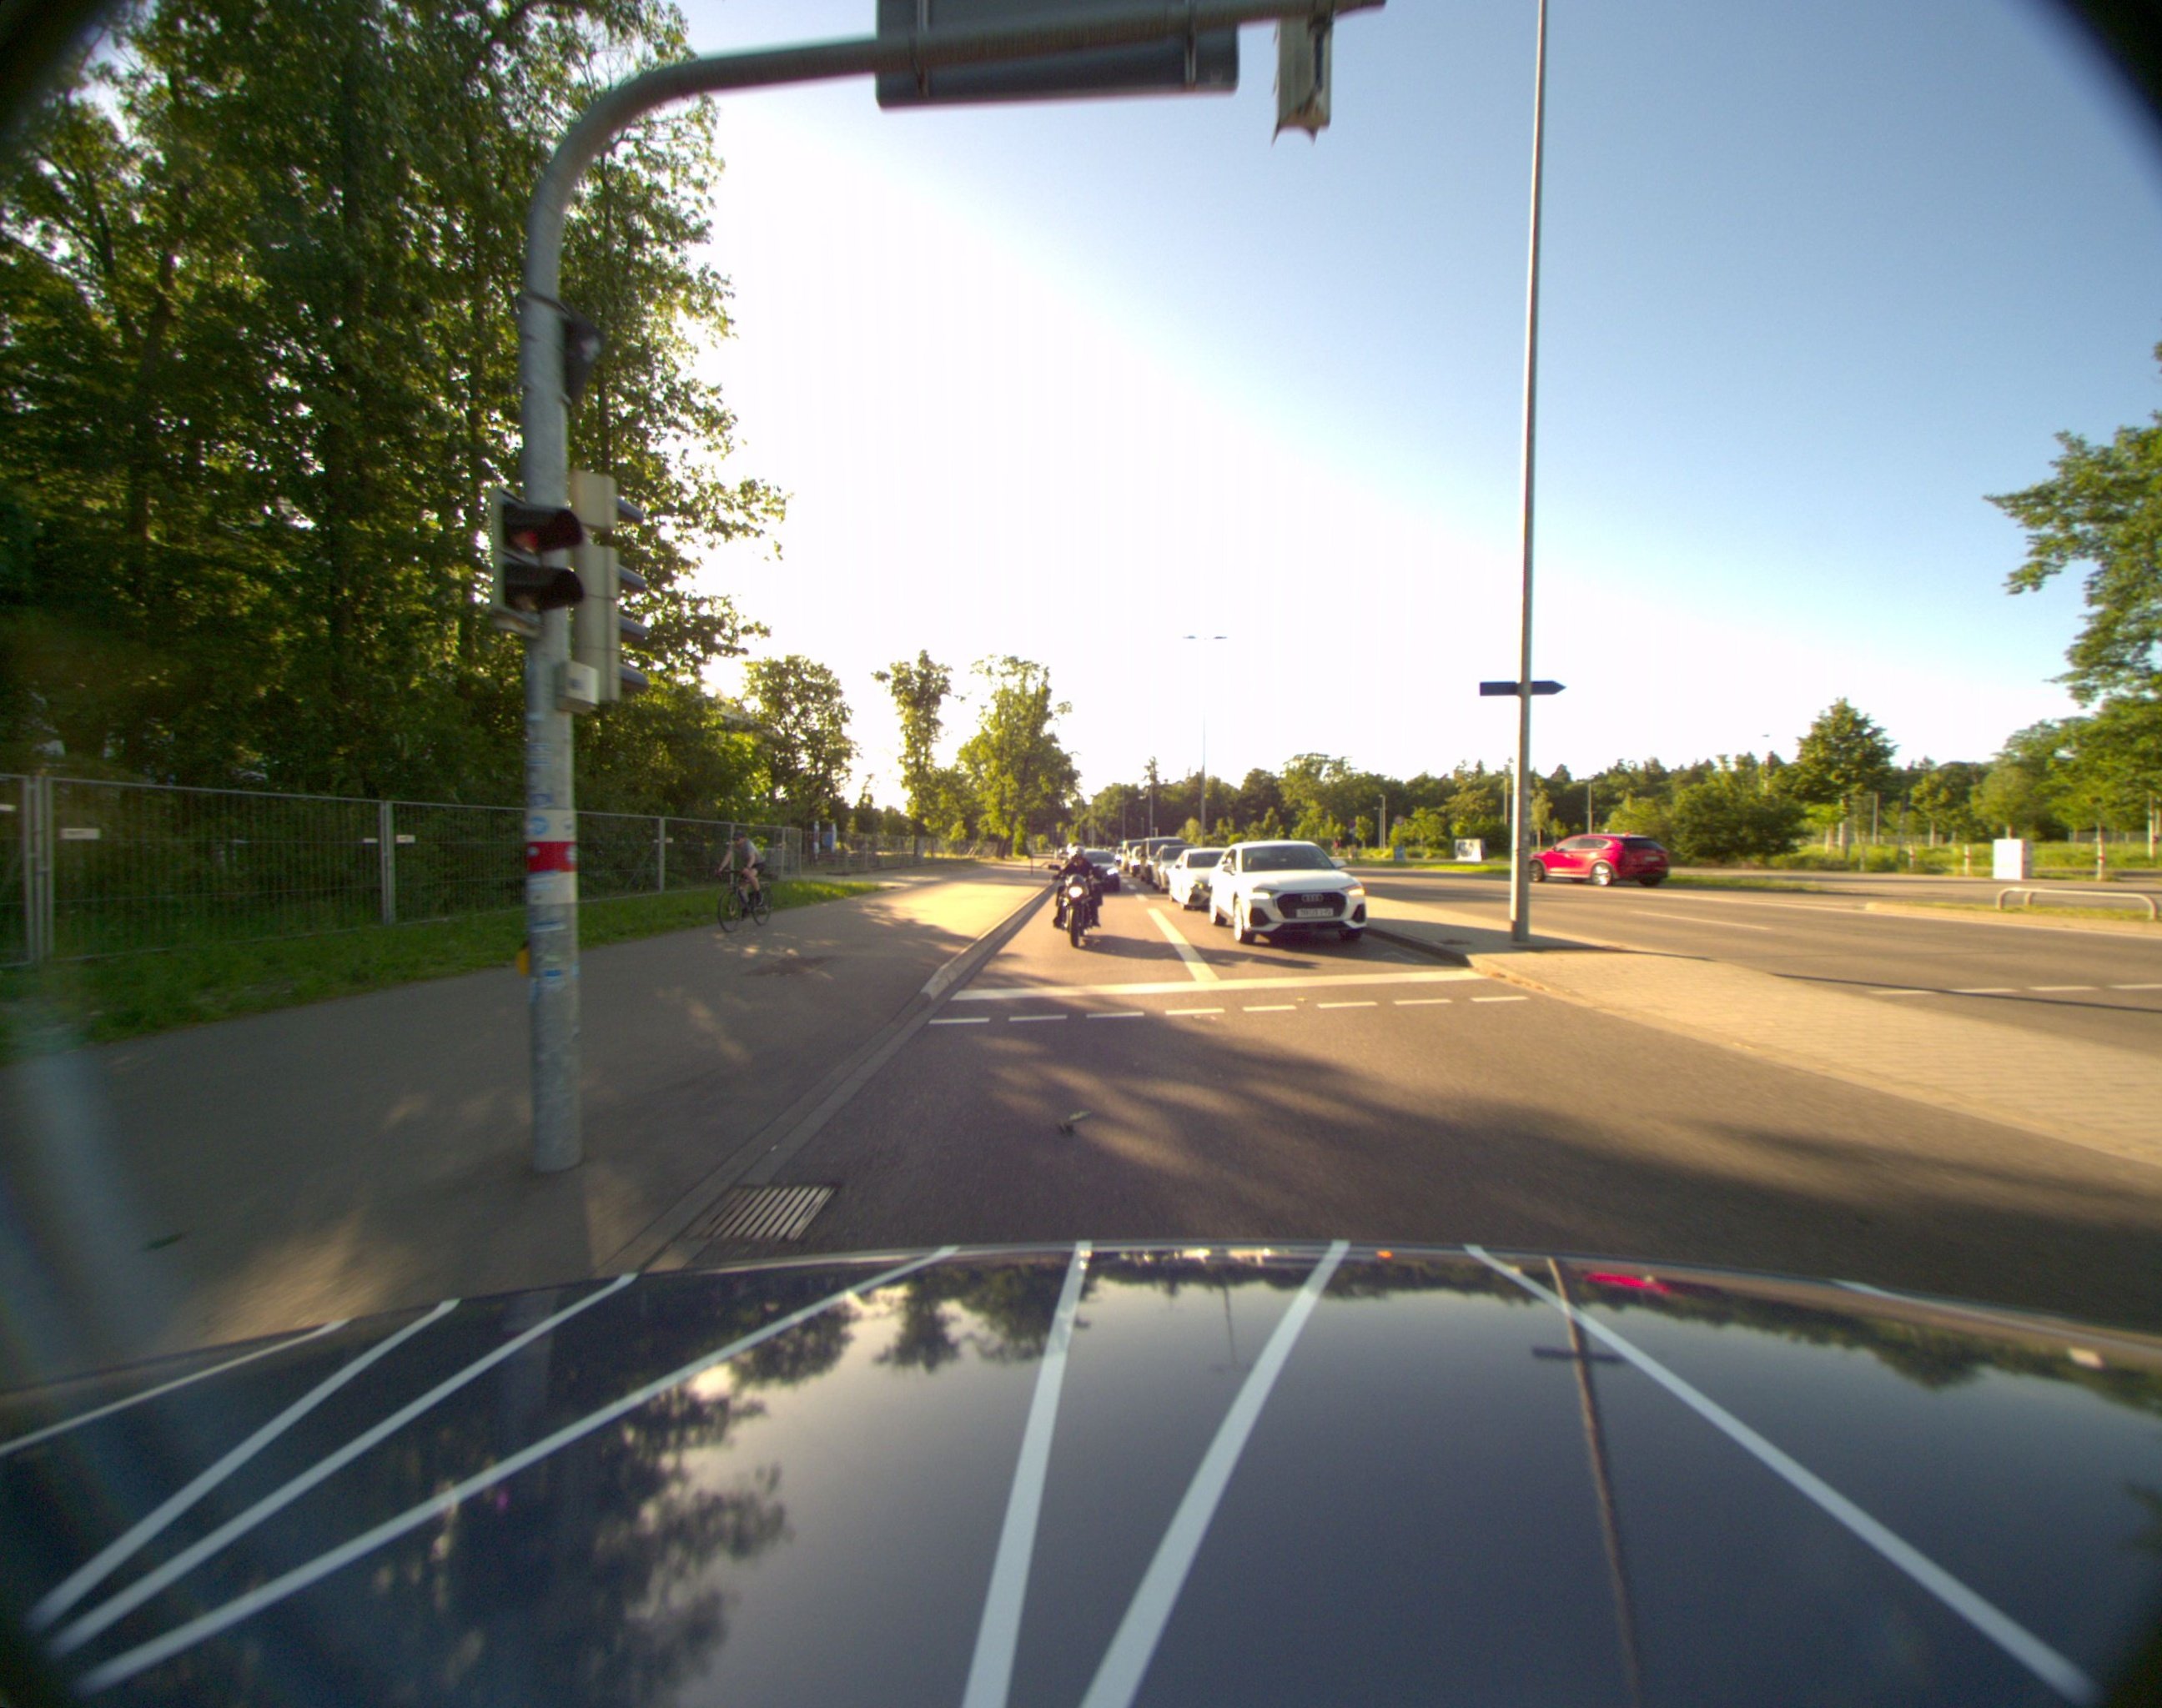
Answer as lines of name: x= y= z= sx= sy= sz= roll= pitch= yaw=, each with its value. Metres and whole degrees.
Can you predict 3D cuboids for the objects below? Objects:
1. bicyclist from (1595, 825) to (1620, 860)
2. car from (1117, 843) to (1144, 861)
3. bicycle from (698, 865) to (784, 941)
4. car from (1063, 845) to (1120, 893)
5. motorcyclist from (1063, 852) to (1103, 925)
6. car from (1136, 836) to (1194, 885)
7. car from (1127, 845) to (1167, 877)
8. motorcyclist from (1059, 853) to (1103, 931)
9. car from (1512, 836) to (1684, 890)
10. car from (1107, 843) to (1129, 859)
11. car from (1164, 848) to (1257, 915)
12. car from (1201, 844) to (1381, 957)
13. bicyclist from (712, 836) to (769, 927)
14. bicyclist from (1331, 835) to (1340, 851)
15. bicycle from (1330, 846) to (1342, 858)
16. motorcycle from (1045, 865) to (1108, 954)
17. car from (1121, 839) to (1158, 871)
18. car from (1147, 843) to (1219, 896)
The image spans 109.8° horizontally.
bicyclist: x=24.899 y=-0.549 z=35.953 sx=0.682 sy=1.602 sz=0.800 roll=-2 pitch=1 yaw=9
car: x=4.118 y=-0.186 z=63.666 sx=1.896 sy=1.389 sz=4.639 roll=-2 pitch=1 yaw=0
bicycle: x=-5.687 y=0.783 z=12.826 sx=0.555 sy=1.131 sz=1.864 roll=0 pitch=1 yaw=1
car: x=0.374 y=0.476 z=27.988 sx=1.867 sy=1.538 sz=4.795 roll=-2 pitch=1 yaw=0
motorcyclist: x=0.045 y=0.616 z=13.882 sx=0.671 sy=1.257 sz=0.826 roll=-2 pitch=1 yaw=1
car: x=3.475 y=0.215 z=32.313 sx=1.884 sy=1.862 sz=5.234 roll=-2 pitch=1 yaw=0
car: x=3.456 y=0.334 z=40.269 sx=1.736 sy=1.560 sz=4.103 roll=-2 pitch=1 yaw=0
motorcyclist: x=0.008 y=0.632 z=13.018 sx=0.671 sy=1.257 sz=0.826 roll=-2 pitch=1 yaw=1
car: x=16.385 y=0.242 z=24.424 sx=1.892 sy=1.544 sz=4.568 roll=-1 pitch=1 yaw=-11
car: x=3.670 y=-0.307 z=75.987 sx=1.896 sy=1.479 sz=4.639 roll=-2 pitch=1 yaw=0
car: x=3.116 y=0.601 z=19.074 sx=1.661 sy=1.419 sz=4.318 roll=-2 pitch=1 yaw=1
car: x=3.201 y=0.610 z=12.523 sx=1.838 sy=1.504 sz=4.300 roll=-2 pitch=1 yaw=1
bicyclist: x=-5.692 y=0.440 z=12.732 sx=0.521 sy=1.461 sz=0.861 roll=0 pitch=1 yaw=1
bicyclist: x=23.234 y=-1.025 z=69.336 sx=0.593 sy=1.405 sz=0.800 roll=-2 pitch=1 yaw=3
bicycle: x=23.311 y=-0.196 z=69.498 sx=0.584 sy=1.013 sz=1.362 roll=-2 pitch=1 yaw=2
motorcycle: x=-0.033 y=0.854 z=12.959 sx=0.916 sy=1.243 sz=2.962 roll=-2 pitch=1 yaw=1
car: x=3.620 y=0.039 z=47.950 sx=1.867 sy=1.882 sz=5.067 roll=-2 pitch=1 yaw=0
car: x=3.315 y=0.454 z=25.410 sx=1.797 sy=1.574 sz=4.320 roll=-2 pitch=1 yaw=0
